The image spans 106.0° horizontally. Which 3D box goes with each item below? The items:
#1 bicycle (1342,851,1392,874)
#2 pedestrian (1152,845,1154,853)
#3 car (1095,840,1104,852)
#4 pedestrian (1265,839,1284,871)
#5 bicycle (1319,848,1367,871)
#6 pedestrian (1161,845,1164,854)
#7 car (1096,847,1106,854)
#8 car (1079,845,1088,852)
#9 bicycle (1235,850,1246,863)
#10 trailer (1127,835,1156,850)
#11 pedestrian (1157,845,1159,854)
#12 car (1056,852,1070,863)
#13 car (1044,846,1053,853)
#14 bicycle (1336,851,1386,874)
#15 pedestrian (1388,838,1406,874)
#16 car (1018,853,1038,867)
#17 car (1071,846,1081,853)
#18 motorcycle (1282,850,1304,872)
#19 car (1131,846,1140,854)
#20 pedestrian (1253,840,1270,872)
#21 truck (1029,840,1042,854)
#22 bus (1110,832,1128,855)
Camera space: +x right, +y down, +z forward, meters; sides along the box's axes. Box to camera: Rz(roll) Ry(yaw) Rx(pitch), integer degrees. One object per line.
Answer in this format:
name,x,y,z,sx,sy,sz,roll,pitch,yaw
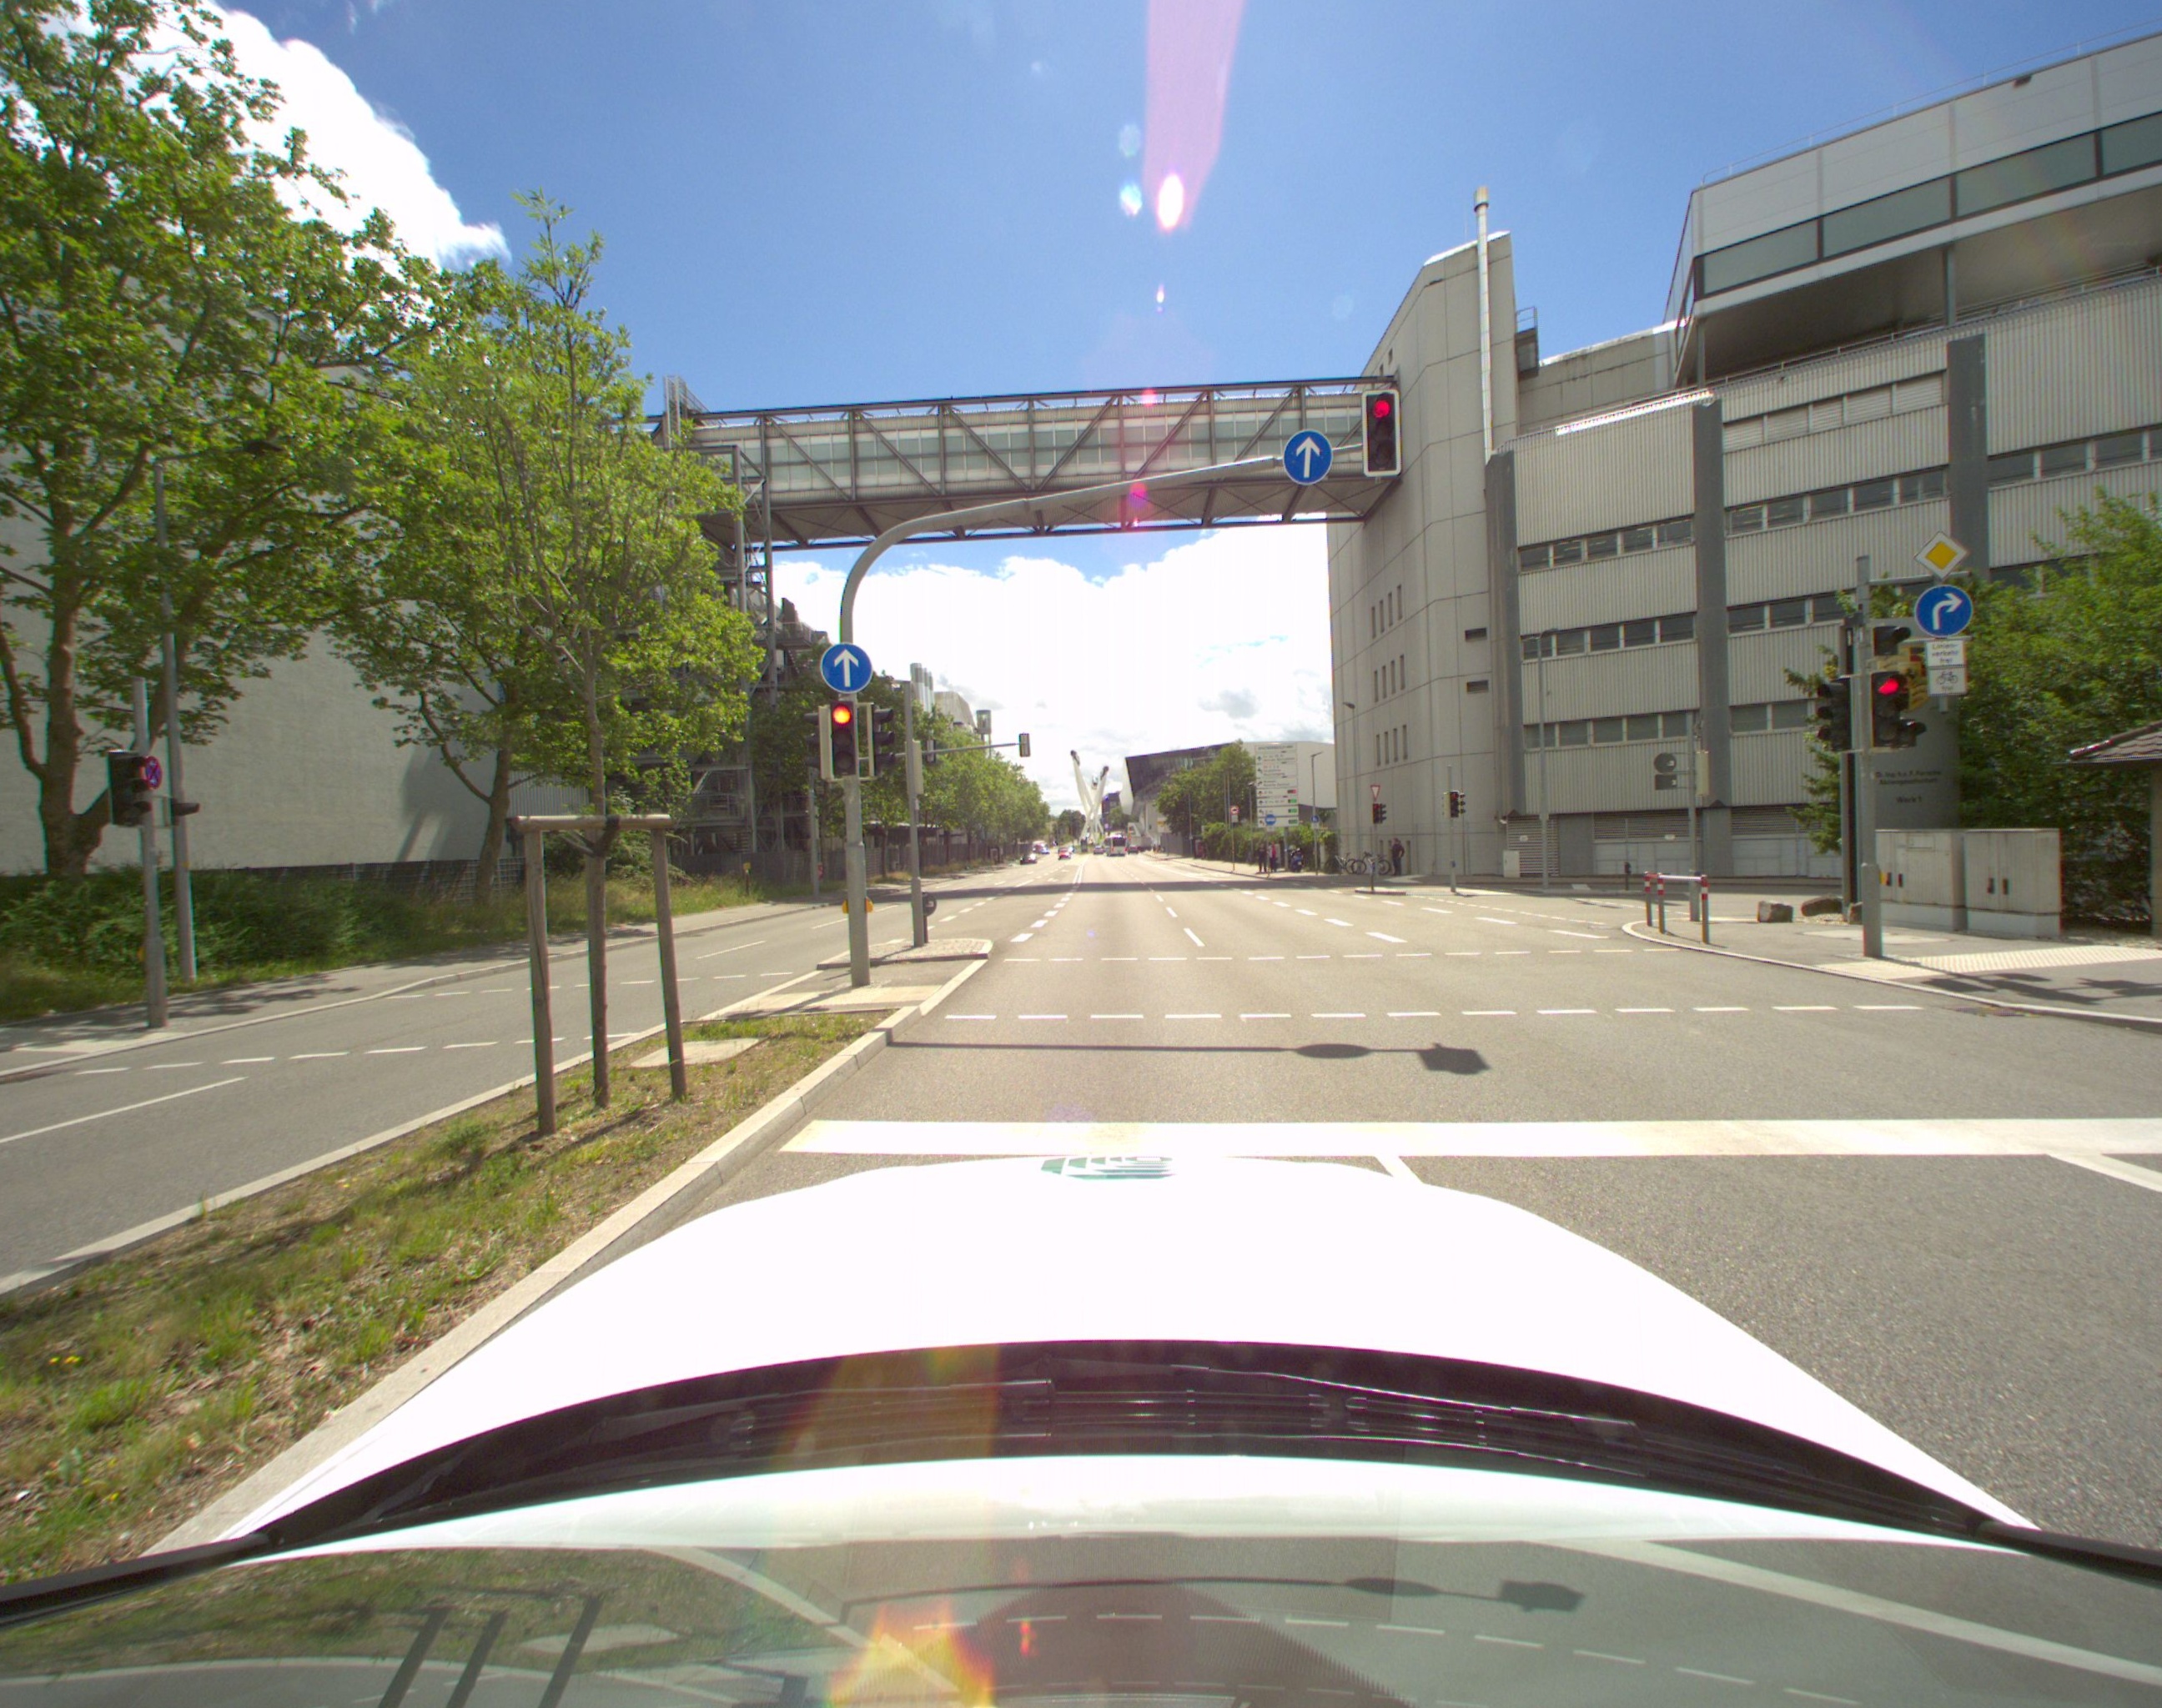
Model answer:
bicycle,13.568,0.399,38.646,2.166,1.086,0.480,-1,-1,37
pedestrian,12.232,-0.860,138.010,0.384,1.421,0.424,0,-1,2
car,3.950,-1.681,171.667,1.838,2.624,3.999,0,-1,0
pedestrian,11.184,0.050,47.128,0.692,1.793,0.709,-4,0,-14
bicycle,13.085,0.282,40.703,2.196,1.086,0.480,-1,-1,37
pedestrian,13.865,-0.751,138.425,0.384,1.421,0.424,0,-1,2
car,3.718,-0.648,148.881,1.551,1.273,3.704,-4,0,3
car,0.546,-1.051,155.946,1.551,1.273,3.704,-4,0,3
bicycle,12.727,0.177,65.129,0.417,1.022,1.911,0,-1,-2
trailer,12.814,-2.426,172.089,3.291,2.995,10.429,-1,-1,21
pedestrian,13.009,-0.772,137.546,0.384,1.421,0.424,0,-1,2
car,-2.614,0.524,119.108,1.762,1.420,3.704,-4,0,3
car,-7.294,-0.982,180.837,1.792,1.574,4.000,-1,0,0
bicycle,13.518,0.405,39.359,2.196,1.086,0.480,-1,-1,37
pedestrian,14.304,0.100,36.855,0.650,1.640,0.538,-1,-1,30
car,-6.678,0.745,103.850,1.910,1.488,4.775,-4,0,3
car,-0.980,-0.909,164.258,1.762,1.420,3.704,-4,0,3
motorcycle,11.651,0.401,44.894,0.418,1.166,1.951,0,-1,-9
car,9.779,-0.771,146.185,1.551,1.273,3.704,-4,0,3
pedestrian,10.434,0.106,47.099,0.642,1.793,0.709,-4,0,-14
truck,-12.043,-1.824,215.992,2.581,3.324,7.083,0,-1,3
bus,6.224,-1.676,132.717,2.776,3.686,6.947,0,-1,3
